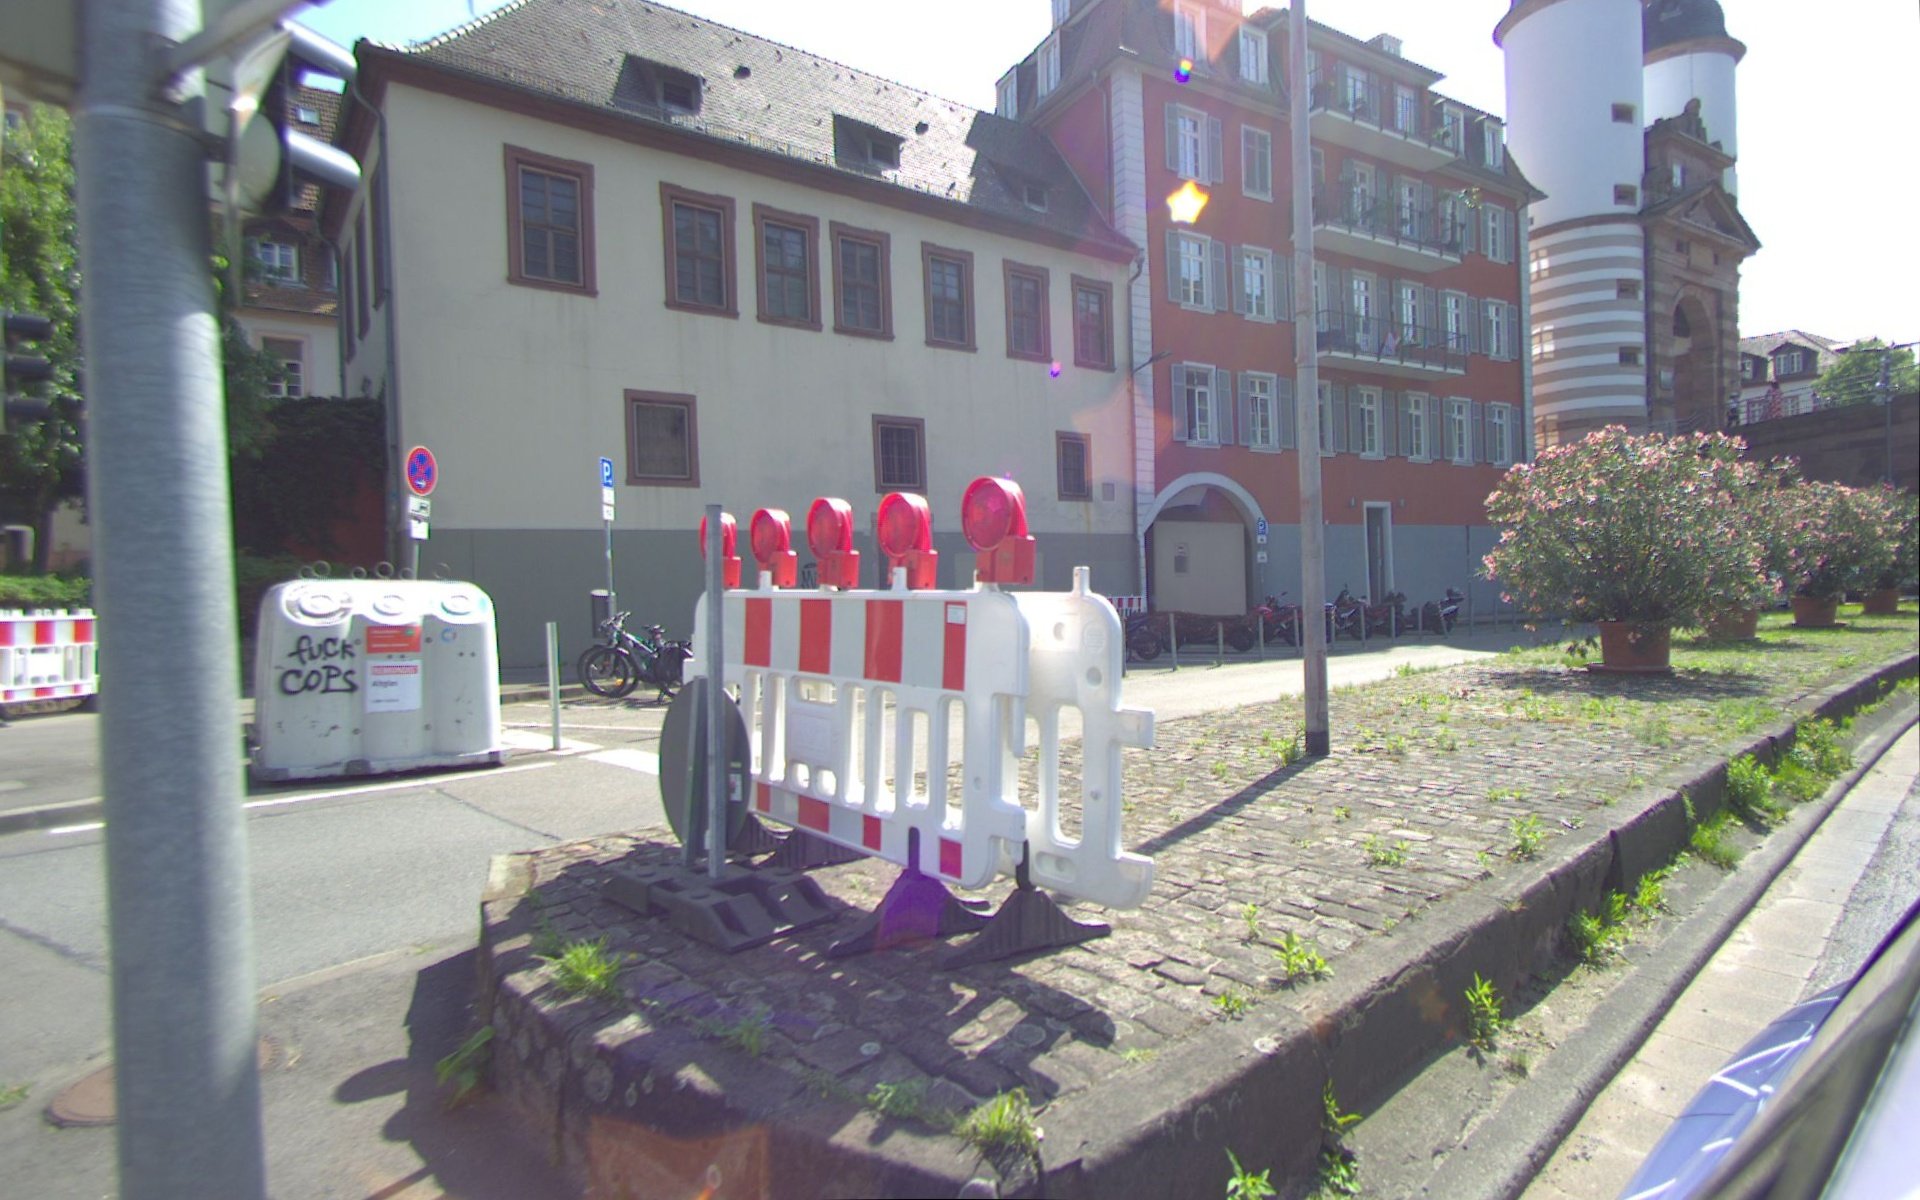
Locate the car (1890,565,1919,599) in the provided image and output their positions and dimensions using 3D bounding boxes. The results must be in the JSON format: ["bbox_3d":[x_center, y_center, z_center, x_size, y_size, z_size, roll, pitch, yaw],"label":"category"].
[{"bbox_3d":[44.577,-0.847,46.190,3.802,1.428,1.727,-2,3,-23],"label":"car"}]

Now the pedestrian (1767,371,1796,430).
[{"bbox_3d":[30.068,-7.280,37.023,0.693,2.038,0.641,-3,2,-33],"label":"pedestrian"}]

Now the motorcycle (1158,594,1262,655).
[{"bbox_3d":[5.507,0.531,22.290,2.155,1.283,0.778,0,1,19],"label":"motorcycle"}]

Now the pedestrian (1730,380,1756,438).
[{"bbox_3d":[29.642,-7.210,38.295,0.693,2.038,0.581,-3,2,-33],"label":"pedestrian"}]

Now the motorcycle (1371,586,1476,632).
[{"bbox_3d":[12.843,0.256,28.110,2.505,1.249,0.839,0,0,14],"label":"motorcycle"}]

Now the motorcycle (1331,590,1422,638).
[{"bbox_3d":[11.176,0.361,27.226,2.121,1.249,0.839,0,0,14],"label":"motorcycle"}]

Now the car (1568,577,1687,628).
[{"bbox_3d":[22.324,0.068,33.825,3.733,1.562,1.679,-2,0,-27],"label":"car"}]

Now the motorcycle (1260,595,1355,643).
[{"bbox_3d":[8.691,0.468,25.348,2.163,1.162,0.626,-1,1,11],"label":"motorcycle"}]

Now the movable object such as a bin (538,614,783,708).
[{"bbox_3d":[-3.962,0.767,13.500,2.912,1.124,1.253,0,1,14],"label":"movable object such as a bin"}]

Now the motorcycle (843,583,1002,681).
[{"bbox_3d":[-0.616,0.505,16.930,2.463,1.552,1.048,-1,1,17],"label":"motorcycle"}]

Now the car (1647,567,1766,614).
[{"bbox_3d":[26.554,-0.392,35.979,4.329,1.511,1.901,-2,2,-31],"label":"car"}]

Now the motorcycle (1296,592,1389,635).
[{"bbox_3d":[9.869,0.344,26.176,2.163,1.090,0.626,-1,1,11],"label":"motorcycle"}]

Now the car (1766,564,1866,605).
[{"bbox_3d":[34.690,-0.651,40.982,4.404,1.454,1.783,-3,2,-31],"label":"car"}]

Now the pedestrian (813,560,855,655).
[{"bbox_3d":[-2.500,0.133,20.049,0.608,1.845,0.495,-3,2,-39],"label":"pedestrian"}]

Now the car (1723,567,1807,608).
[{"bbox_3d":[30.455,-0.507,38.284,3.502,1.437,1.559,-2,2,-35],"label":"car"}]

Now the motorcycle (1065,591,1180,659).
[{"bbox_3d":[3.216,0.483,20.080,2.169,1.283,0.624,0,1,19],"label":"motorcycle"}]

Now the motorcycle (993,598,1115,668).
[{"bbox_3d":[1.773,0.611,19.102,2.207,1.268,0.624,0,0,19],"label":"motorcycle"}]

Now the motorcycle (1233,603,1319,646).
[{"bbox_3d":[7.545,0.579,24.244,1.901,0.999,0.546,-1,1,11],"label":"motorcycle"}]
